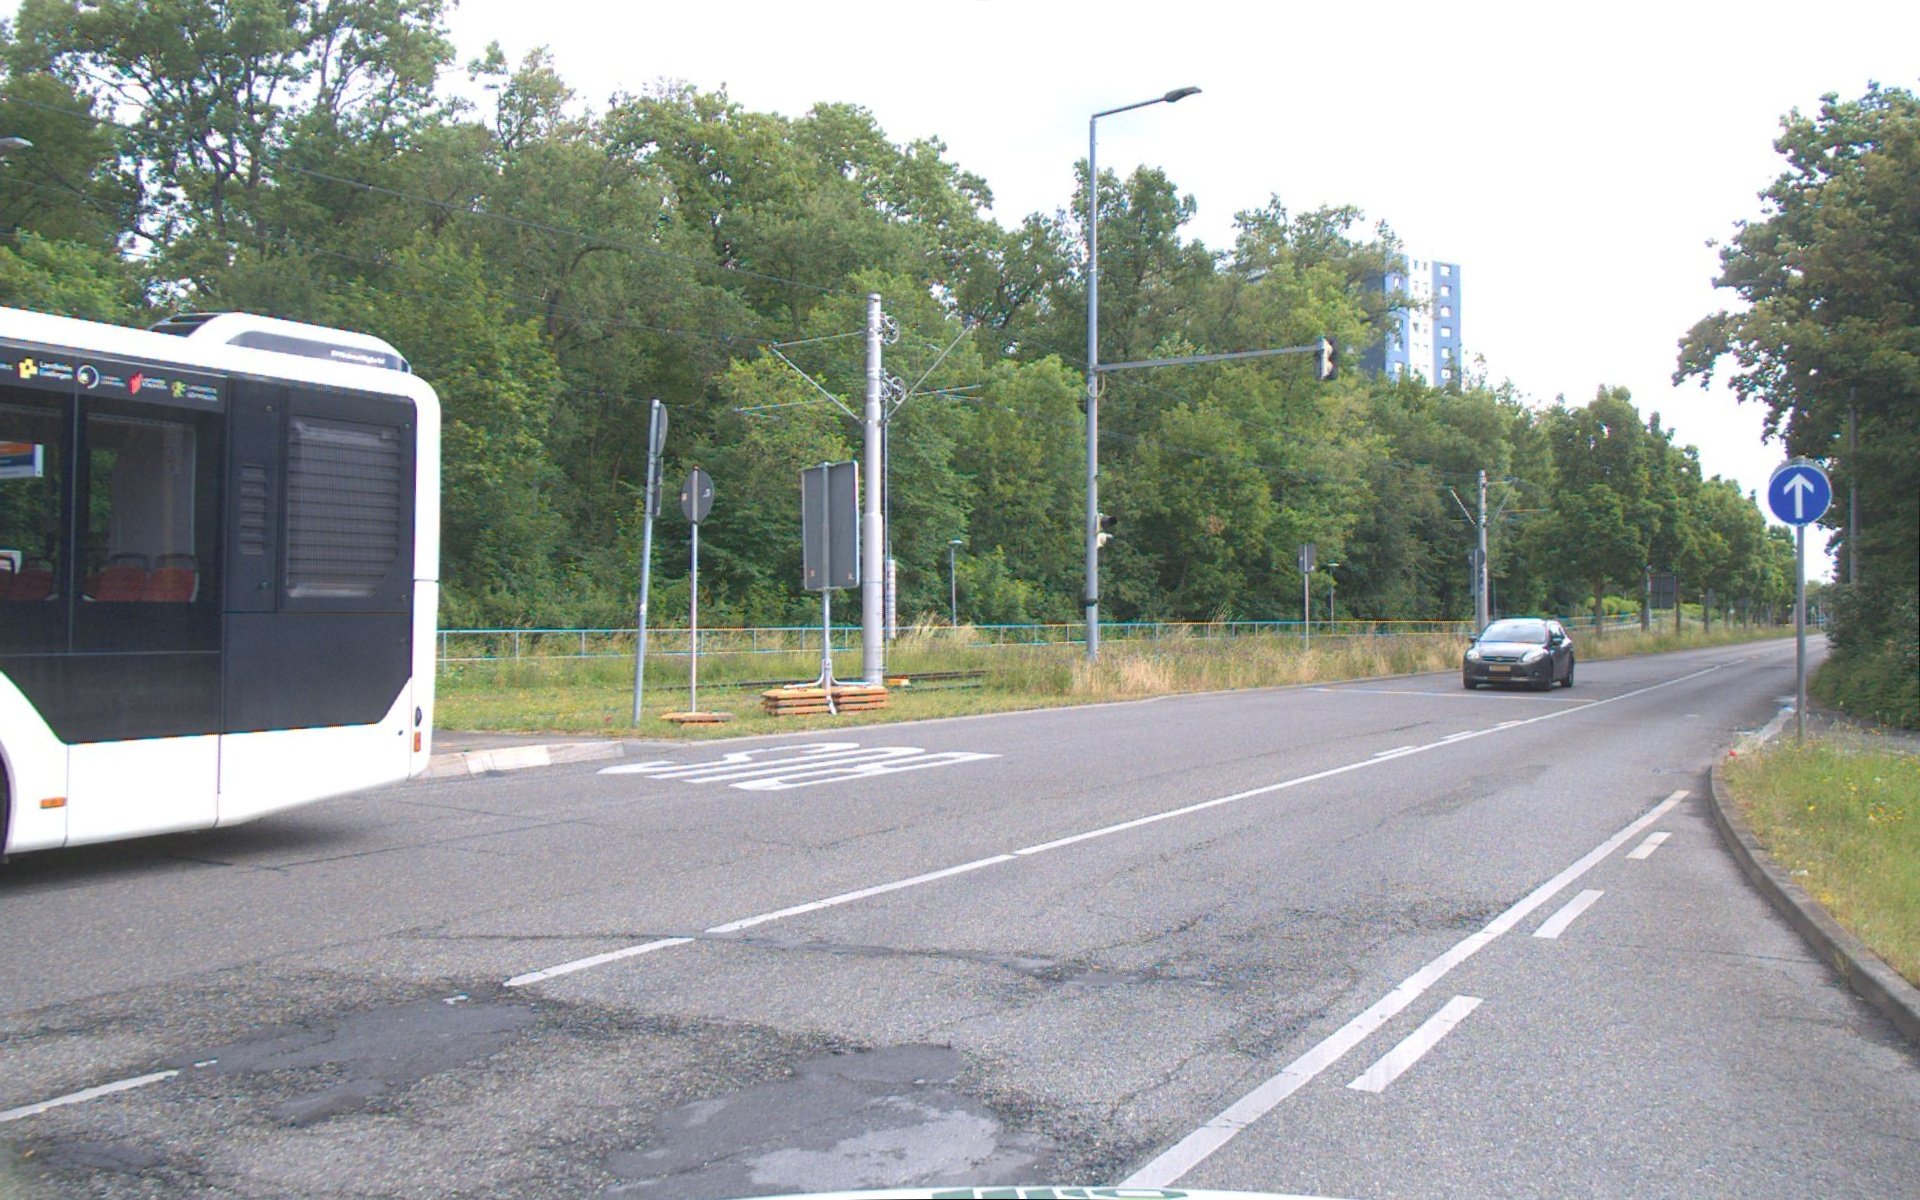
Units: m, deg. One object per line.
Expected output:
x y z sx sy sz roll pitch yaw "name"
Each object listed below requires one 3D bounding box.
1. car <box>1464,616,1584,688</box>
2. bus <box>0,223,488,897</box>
12.250 1.080 35.762 1.722 1.460 4.421 0 -1 29 "car"
-7.240 -0.221 6.106 2.617 3.259 12.174 -1 -1 30 "bus"
